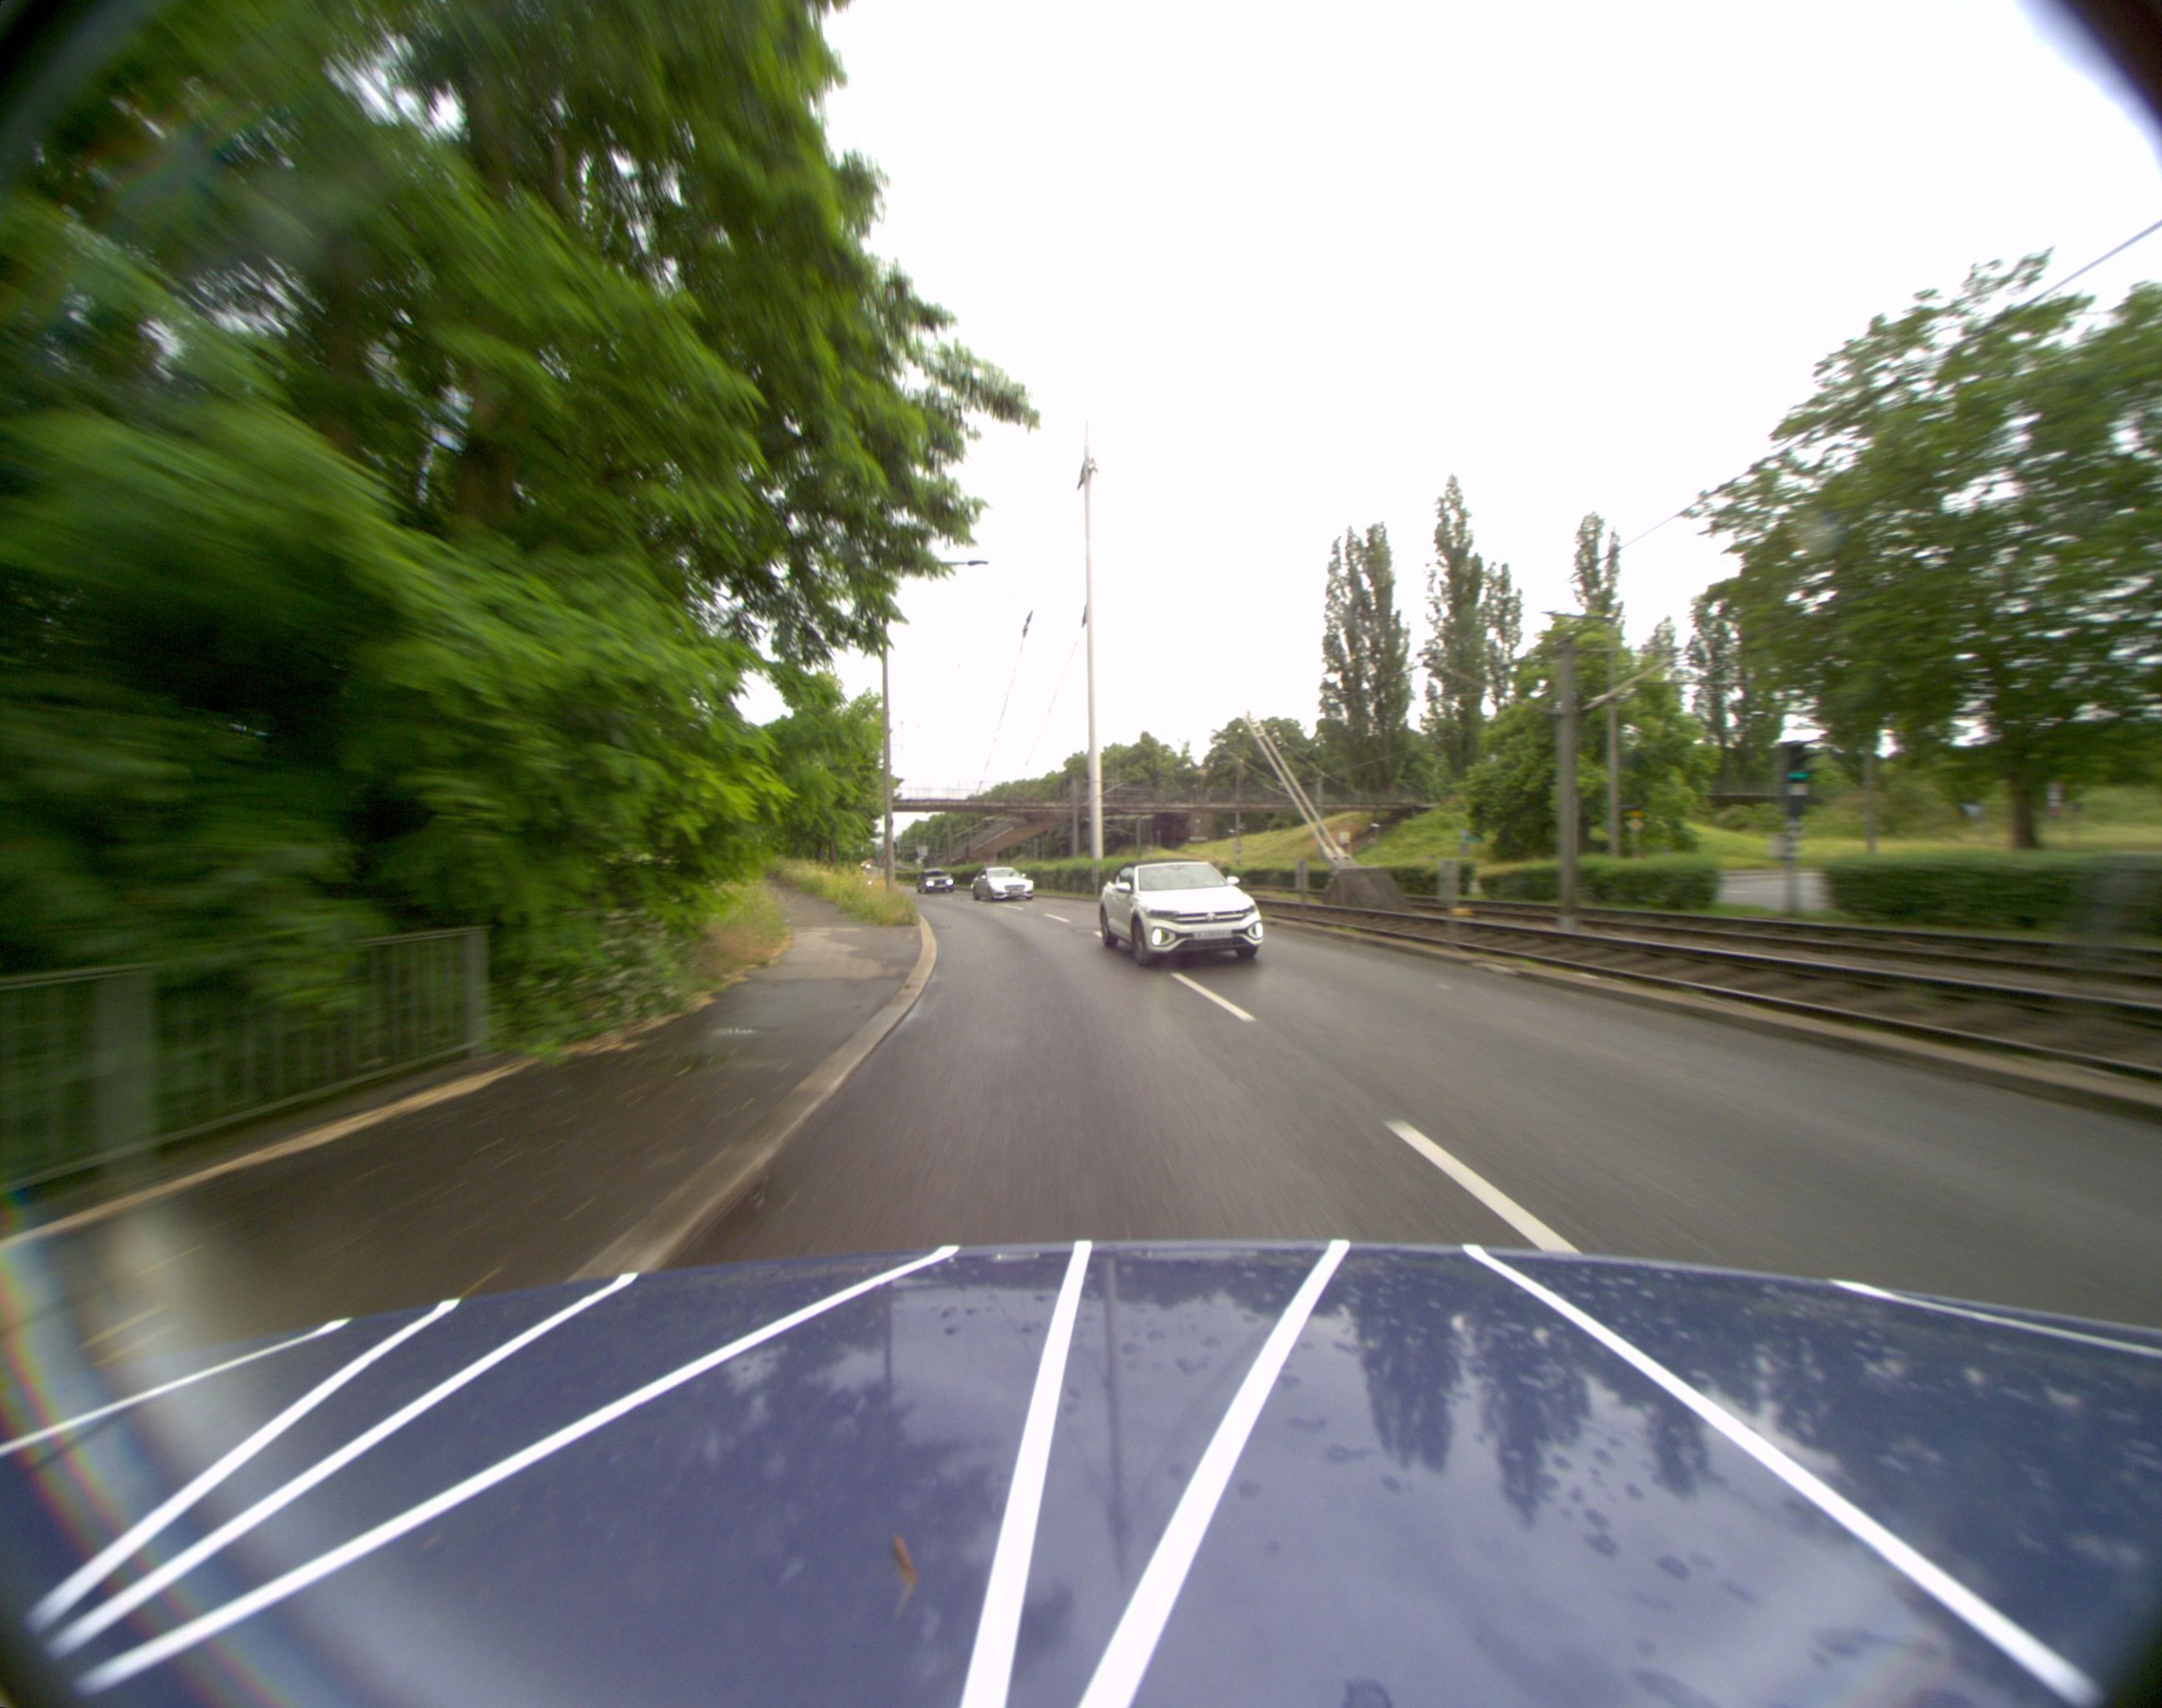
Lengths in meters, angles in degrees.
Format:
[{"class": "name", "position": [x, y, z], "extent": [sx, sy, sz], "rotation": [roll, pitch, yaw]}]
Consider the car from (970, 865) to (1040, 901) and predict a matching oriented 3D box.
[{"class": "car", "position": [-3.333, 1.224, 32.700], "extent": [1.875, 1.347, 4.053], "rotation": [-3, -1, -22]}]

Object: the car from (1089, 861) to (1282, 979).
[{"class": "car", "position": [1.469, 0.909, 12.595], "extent": [1.877, 1.515, 4.536], "rotation": [-2, 0, -10]}]

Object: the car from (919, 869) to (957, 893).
[{"class": "car", "position": [-9.055, 1.639, 47.826], "extent": [1.739, 1.344, 3.993], "rotation": [-2, 0, -20]}]
